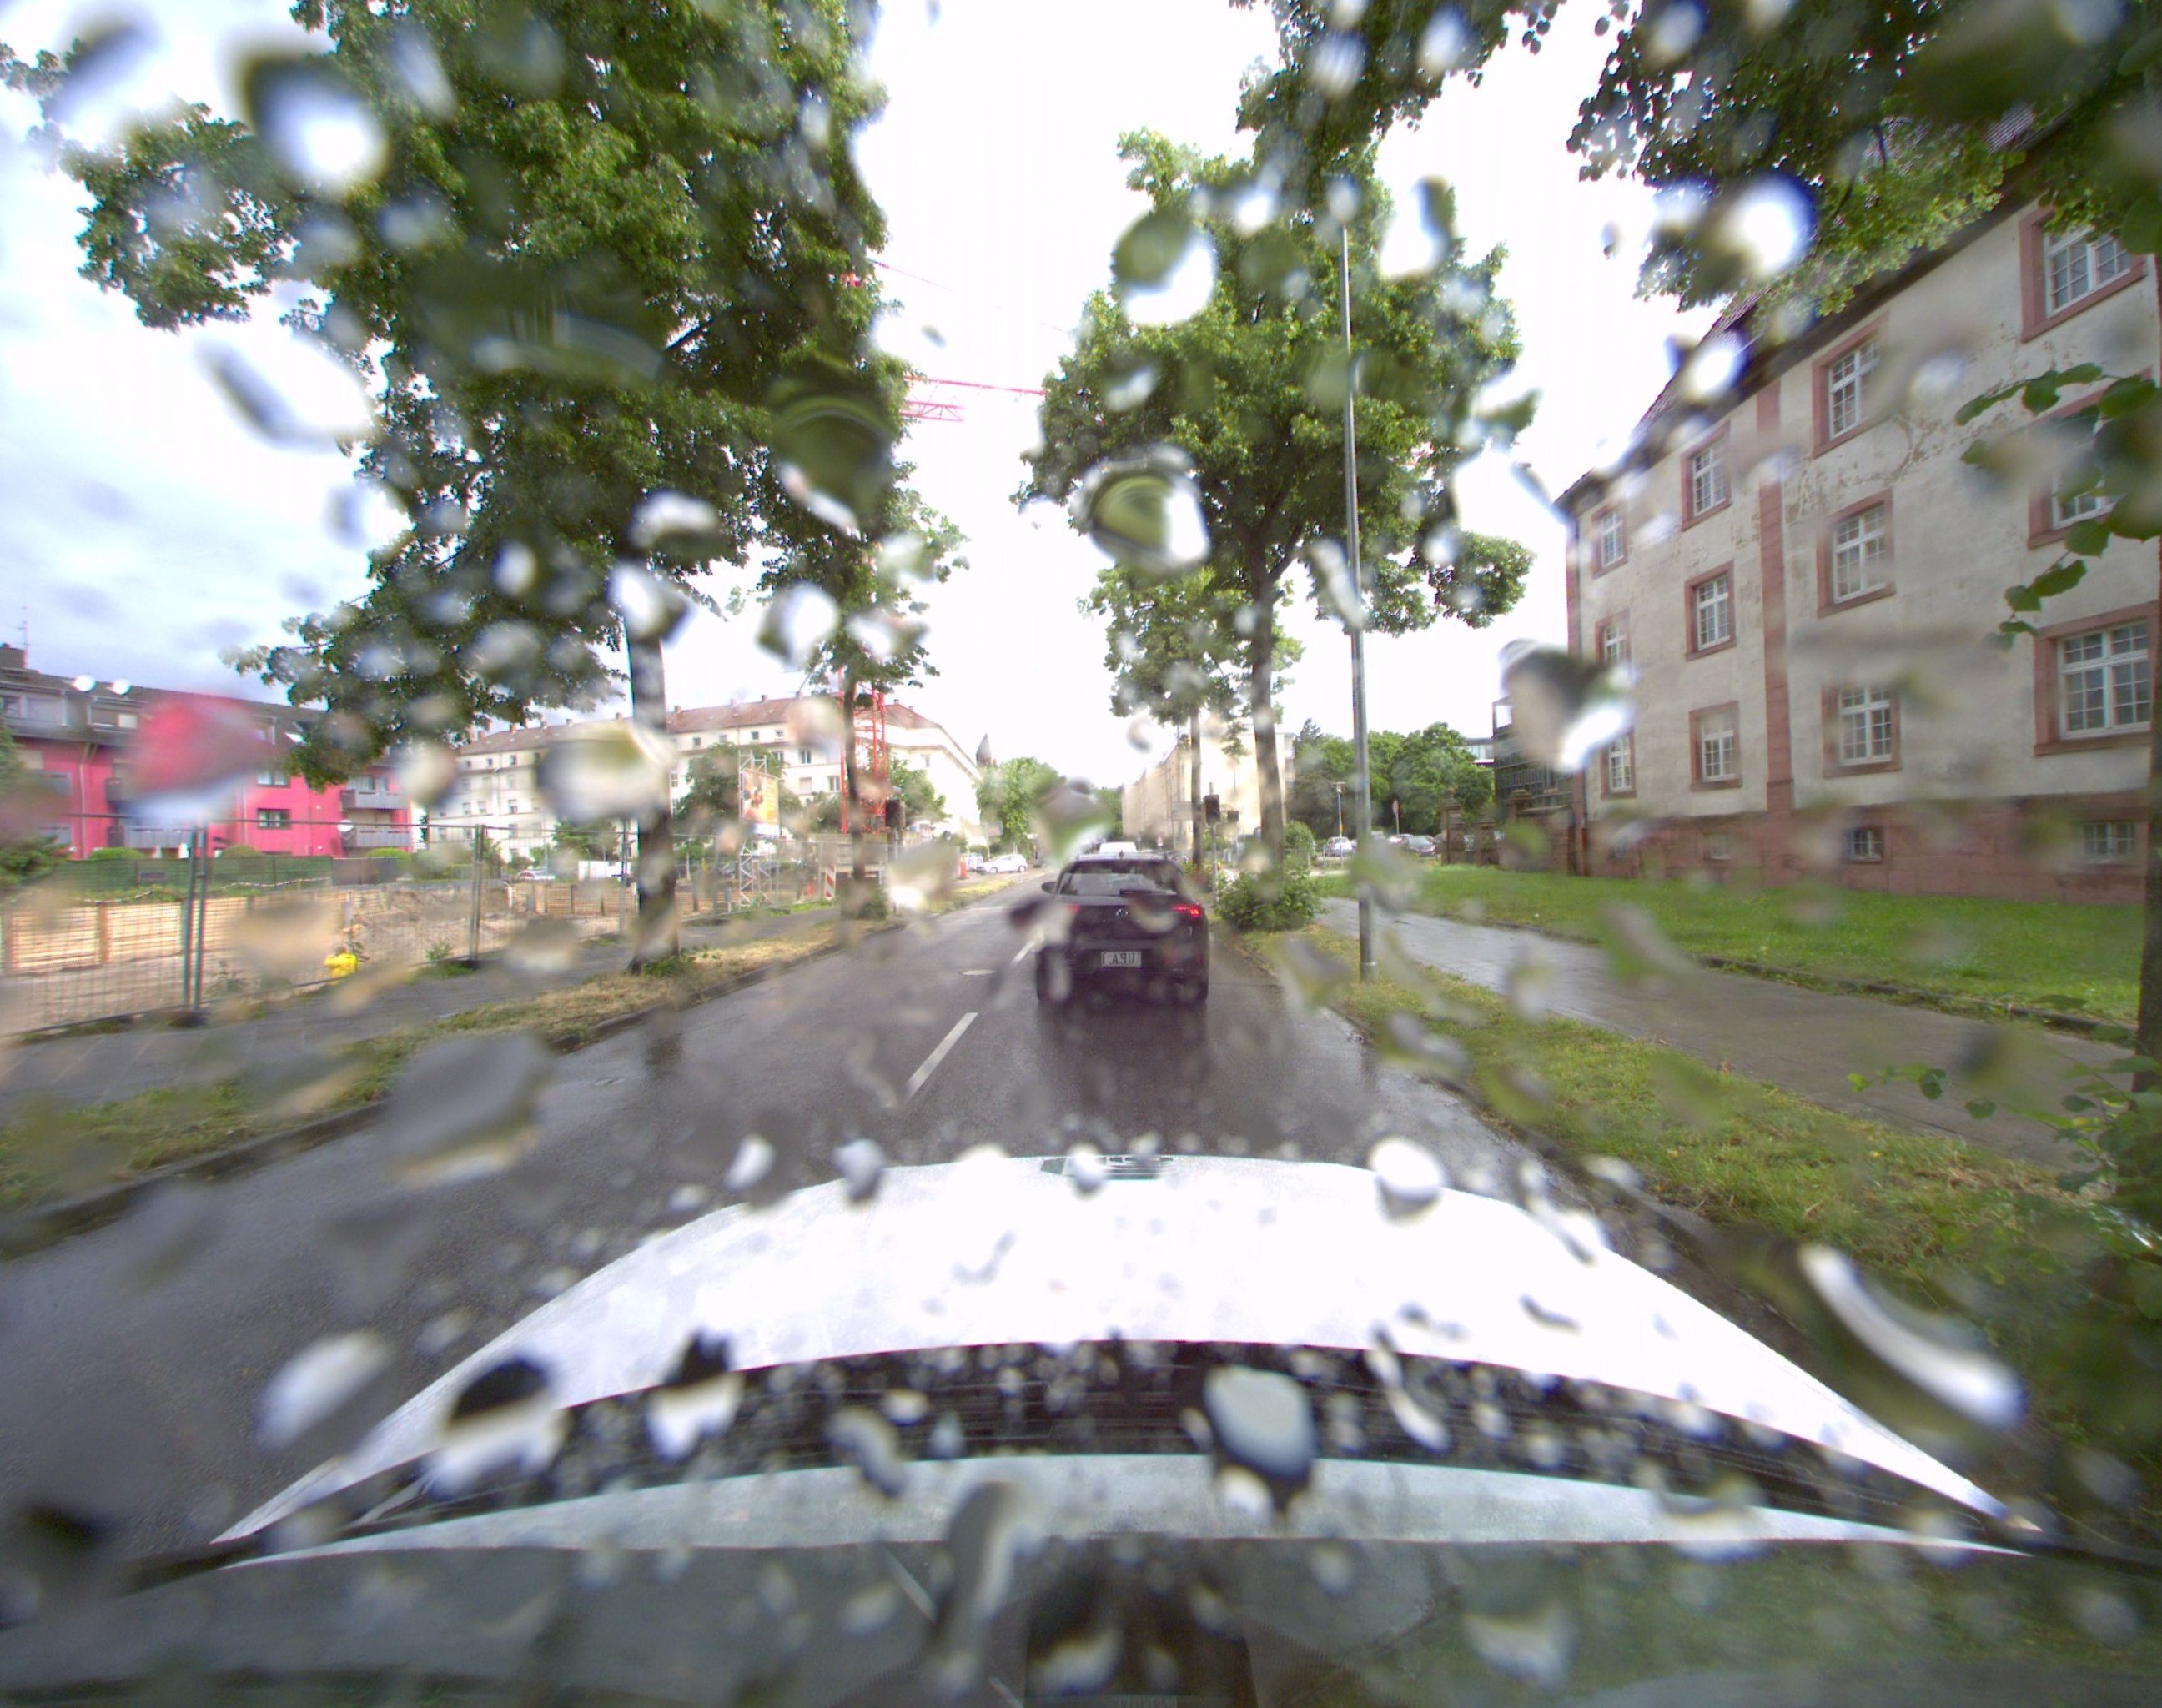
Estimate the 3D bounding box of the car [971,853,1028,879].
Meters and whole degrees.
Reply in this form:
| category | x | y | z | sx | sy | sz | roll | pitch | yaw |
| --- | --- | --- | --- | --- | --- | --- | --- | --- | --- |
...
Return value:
| category | x | y | z | sx | sy | sz | roll | pitch | yaw |
| --- | --- | --- | --- | --- | --- | --- | --- | --- | --- |
| car | -6.288 | 0.929 | 62.872 | 3.948 | 1.651 | 1.742 | -5 | 0 | -30 |

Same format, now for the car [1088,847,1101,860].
| category | x | y | z | sx | sy | sz | roll | pitch | yaw |
| --- | --- | --- | --- | --- | --- | --- | --- | --- | --- |
| car | 1.799 | -0.073 | 110.366 | 1.586 | 1.512 | 3.732 | -5 | 0 | 1 |

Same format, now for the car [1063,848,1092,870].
| category | x | y | z | sx | sy | sz | roll | pitch | yaw |
| --- | --- | --- | --- | --- | --- | --- | --- | --- | --- |
| car | -0.279 | 0.436 | 71.764 | 1.779 | 1.683 | 4.496 | -5 | 0 | 8 |

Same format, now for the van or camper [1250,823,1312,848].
| category | x | y | z | sx | sy | sz | roll | pitch | yaw |
| --- | --- | --- | --- | --- | --- | --- | --- | --- | --- |
| van or camper | 17.232 | -1.595 | 70.300 | 4.856 | 1.925 | 2.132 | -1 | 1 | 2 |

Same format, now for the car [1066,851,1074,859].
| category | x | y | z | sx | sy | sz | roll | pitch | yaw |
| --- | --- | --- | --- | --- | --- | --- | --- | --- | --- |
| car | -2.273 | 0.204 | 169.484 | 1.586 | 1.512 | 3.732 | -5 | 0 | 1 |

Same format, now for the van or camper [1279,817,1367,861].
| category | x | y | z | sx | sy | sz | roll | pitch | yaw |
| --- | --- | --- | --- | --- | --- | --- | --- | --- | --- |
| van or camper | 15.693 | -0.944 | 52.983 | 5.016 | 2.595 | 2.168 | -3 | 0 | 0 |

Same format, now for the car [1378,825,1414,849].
| category | x | y | z | sx | sy | sz | roll | pitch | yaw |
| --- | --- | --- | --- | --- | --- | --- | --- | --- | --- |
| car | 29.162 | -1.519 | 75.596 | 1.984 | 2.013 | 4.007 | -5 | 0 | 6 |

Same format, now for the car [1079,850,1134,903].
| category | x | y | z | sx | sy | sz | roll | pitch | yaw |
| --- | --- | --- | --- | --- | --- | --- | --- | --- | --- |
| car | 0.998 | 0.787 | 29.927 | 1.672 | 1.708 | 3.915 | -4 | -1 | 5 |

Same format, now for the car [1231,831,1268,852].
| category | x | y | z | sx | sy | sz | roll | pitch | yaw |
| --- | --- | --- | --- | --- | --- | --- | --- | --- | --- |
| car | 16.587 | -1.207 | 80.201 | 3.386 | 1.781 | 1.765 | -5 | 0 | 10 |

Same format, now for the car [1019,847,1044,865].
| category | x | y | z | sx | sy | sz | roll | pitch | yaw |
| --- | --- | --- | --- | --- | --- | --- | --- | --- | --- |
| car | -4.787 | 0.186 | 79.219 | 1.582 | 1.512 | 3.740 | -5 | 0 | 8 |

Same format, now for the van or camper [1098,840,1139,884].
| category | x | y | z | sx | sy | sz | roll | pitch | yaw |
| --- | --- | --- | --- | --- | --- | --- | --- | --- | --- |
| van or camper | 1.804 | 0.332 | 38.537 | 1.812 | 1.947 | 4.198 | -1 | 0 | 3 |

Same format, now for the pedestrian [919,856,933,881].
| category | x | y | z | sx | sy | sz | roll | pitch | yaw |
| --- | --- | --- | --- | --- | --- | --- | --- | --- | --- |
| pedestrian | -9.262 | 0.866 | 48.798 | 0.663 | 1.485 | 0.668 | -2 | 1 | -23 |

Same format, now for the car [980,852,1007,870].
| category | x | y | z | sx | sy | sz | roll | pitch | yaw |
| --- | --- | --- | --- | --- | --- | --- | --- | --- | --- |
| car | -8.305 | 0.639 | 77.208 | 1.582 | 1.512 | 3.740 | -5 | 0 | 8 |

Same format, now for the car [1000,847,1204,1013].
| category | x | y | z | sx | sy | sz | roll | pitch | yaw |
| --- | --- | --- | --- | --- | --- | --- | --- | --- | --- |
| car | 0.282 | 0.711 | 9.688 | 1.887 | 1.522 | 4.002 | -1 | 0 | 2 |

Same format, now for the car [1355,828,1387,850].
| category | x | y | z | sx | sy | sz | roll | pitch | yaw |
| --- | --- | --- | --- | --- | --- | --- | --- | --- | --- |
| car | 28.973 | -1.484 | 81.433 | 1.984 | 2.013 | 4.007 | -5 | 0 | 6 |

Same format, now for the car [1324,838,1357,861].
| category | x | y | z | sx | sy | sz | roll | pitch | yaw |
| --- | --- | --- | --- | --- | --- | --- | --- | --- | --- |
| car | 21.006 | -0.347 | 66.055 | 1.733 | 1.684 | 3.879 | -5 | 0 | 8 |

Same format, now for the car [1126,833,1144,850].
| category | x | y | z | sx | sy | sz | roll | pitch | yaw |
| --- | --- | --- | --- | --- | --- | --- | --- | --- | --- |
| car | 6.496 | -1.503 | 98.583 | 1.986 | 2.013 | 4.001 | -2 | 0 | 2 |
